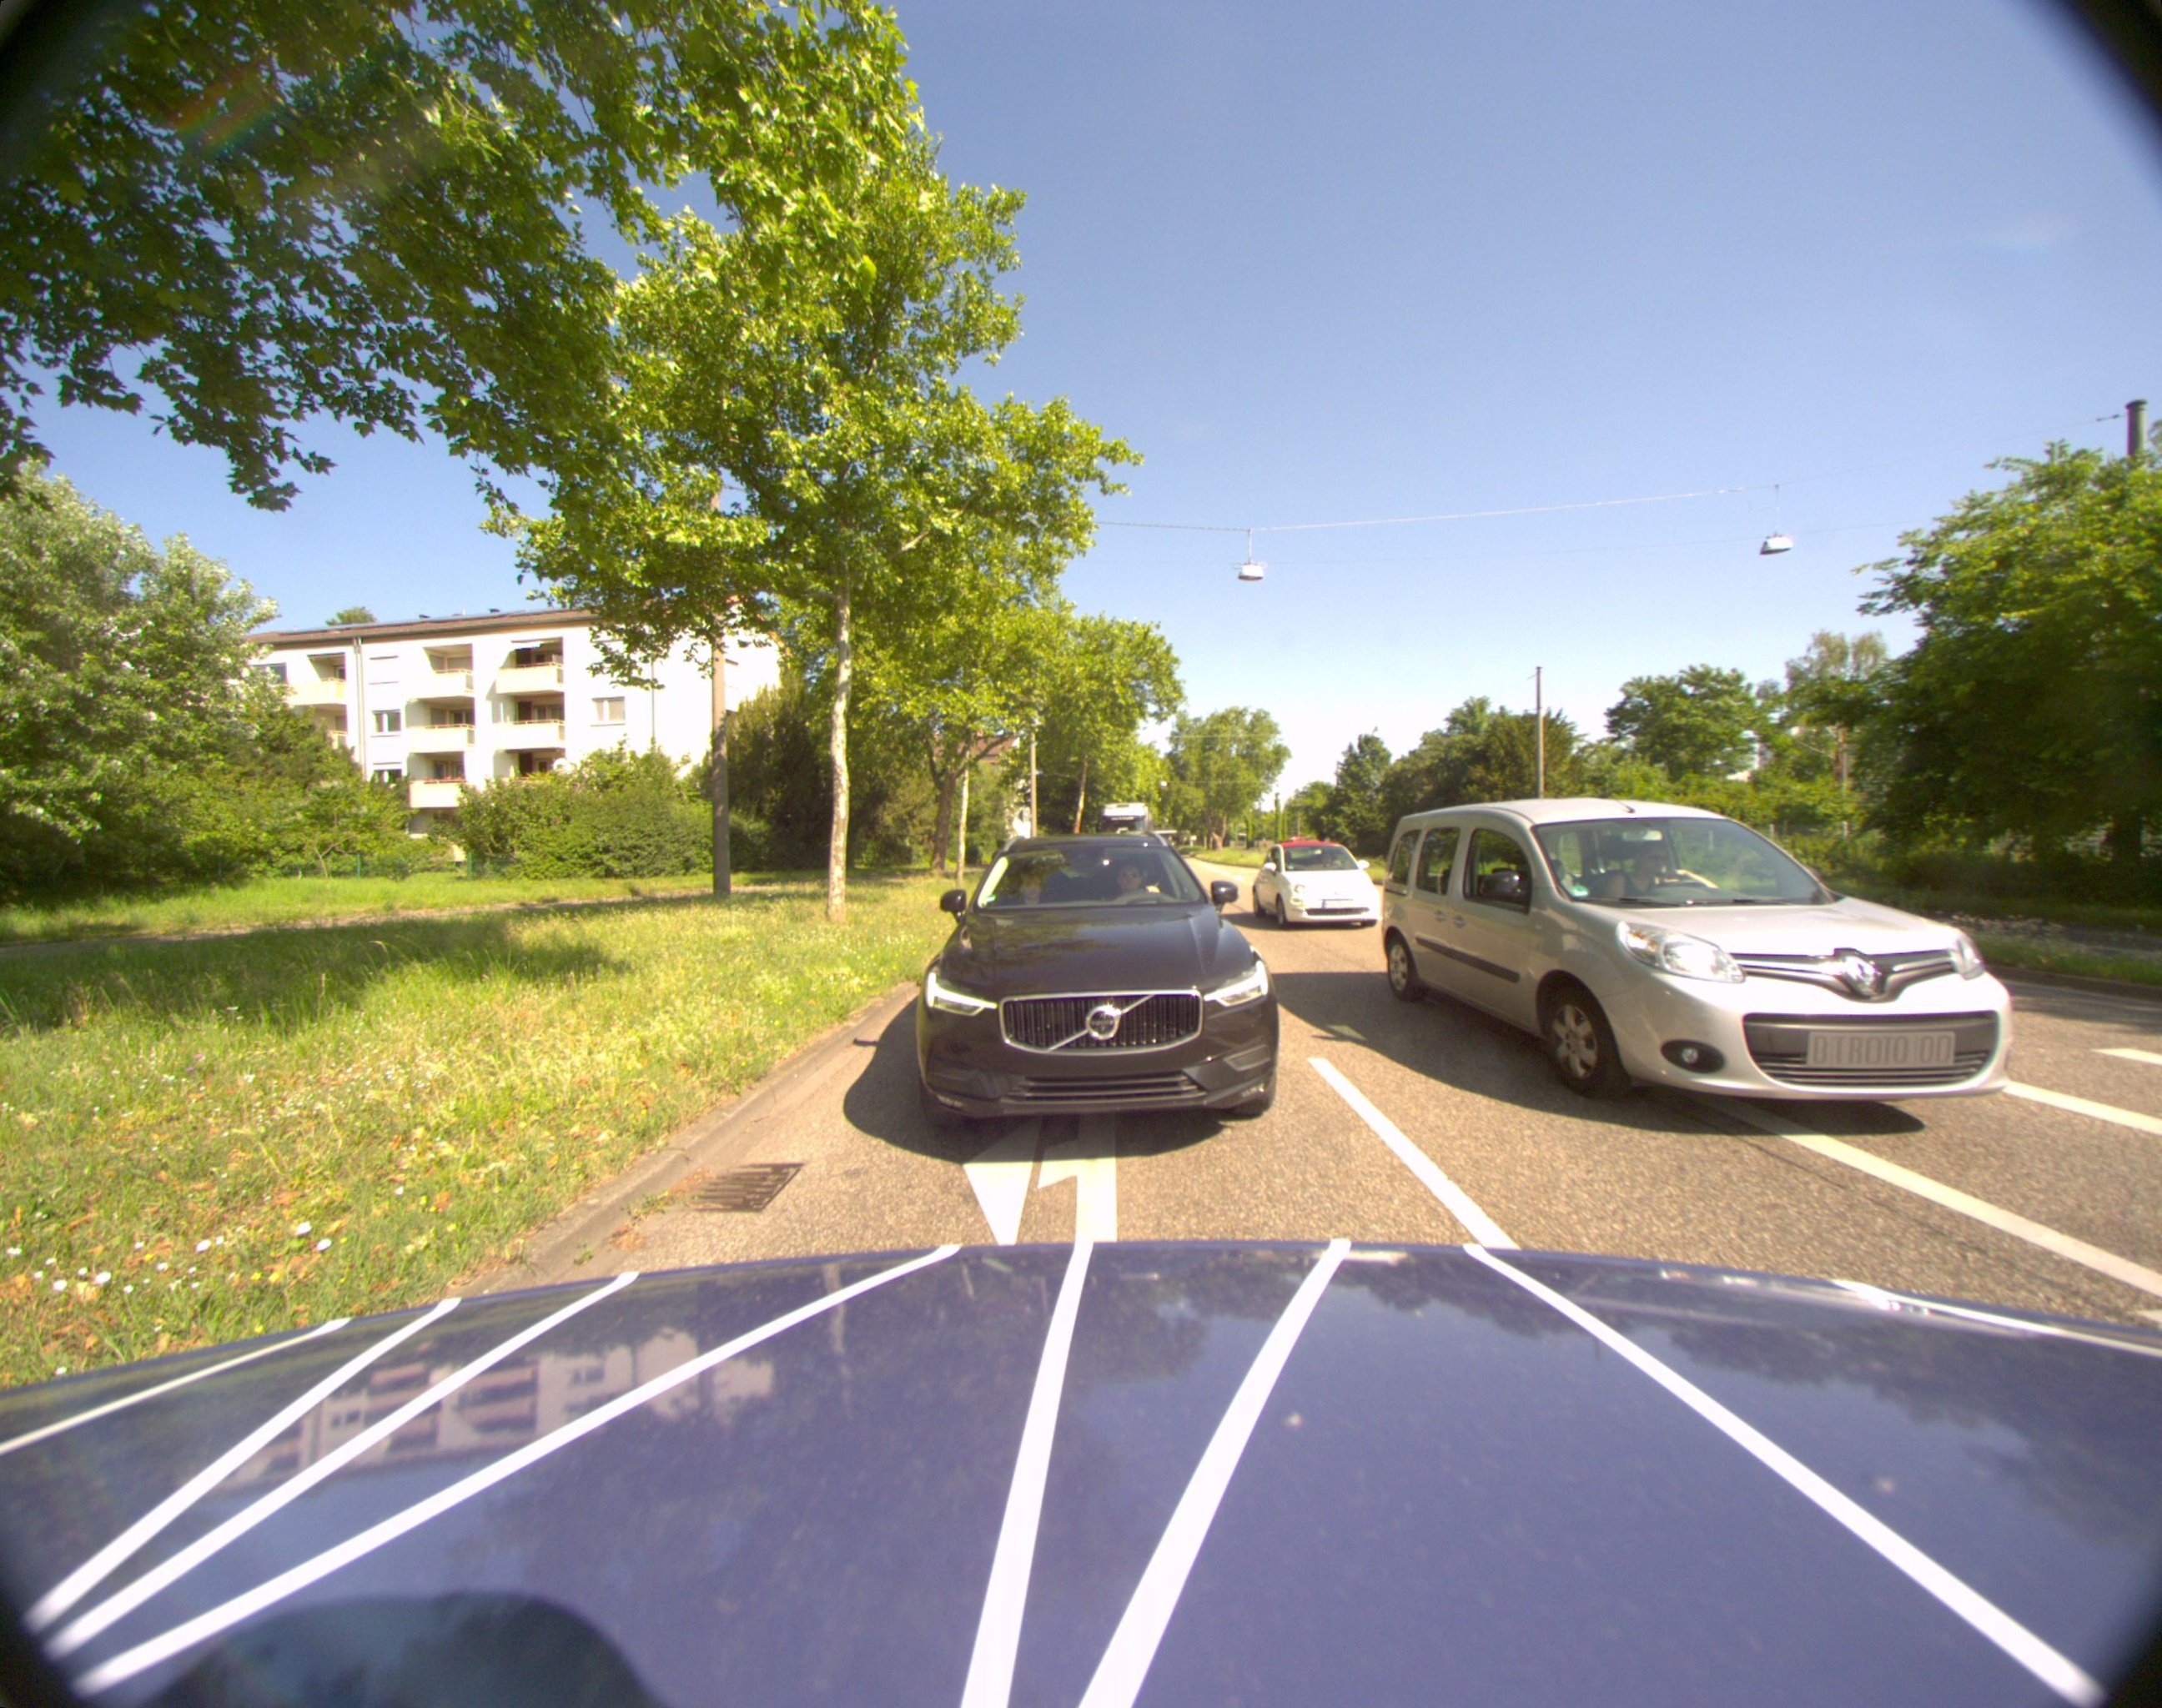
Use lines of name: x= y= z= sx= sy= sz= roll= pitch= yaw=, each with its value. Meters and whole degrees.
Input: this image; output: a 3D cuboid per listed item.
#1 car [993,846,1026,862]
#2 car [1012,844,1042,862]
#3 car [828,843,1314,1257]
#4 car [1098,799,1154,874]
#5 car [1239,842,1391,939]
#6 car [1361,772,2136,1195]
car: x=-6.391 y=-0.009 z=68.628 sx=1.504 sy=1.364 sz=4.093 roll=0 pitch=1 yaw=17
car: x=-5.202 y=-0.137 z=73.955 sx=1.504 sy=1.633 sz=4.093 roll=0 pitch=1 yaw=17
car: x=-0.001 y=0.761 z=5.482 sx=1.904 sy=1.606 sz=4.872 roll=-2 pitch=1 yaw=1
car: x=2.449 y=-0.950 z=43.033 sx=2.902 sy=3.898 sz=7.141 roll=0 pitch=1 yaw=2
car: x=4.237 y=0.560 z=14.479 sx=1.689 sy=1.482 sz=4.375 roll=-3 pitch=1 yaw=3
car: x=3.699 y=0.544 z=5.504 sx=1.876 sy=1.829 sz=4.375 roll=-1 pitch=1 yaw=3
